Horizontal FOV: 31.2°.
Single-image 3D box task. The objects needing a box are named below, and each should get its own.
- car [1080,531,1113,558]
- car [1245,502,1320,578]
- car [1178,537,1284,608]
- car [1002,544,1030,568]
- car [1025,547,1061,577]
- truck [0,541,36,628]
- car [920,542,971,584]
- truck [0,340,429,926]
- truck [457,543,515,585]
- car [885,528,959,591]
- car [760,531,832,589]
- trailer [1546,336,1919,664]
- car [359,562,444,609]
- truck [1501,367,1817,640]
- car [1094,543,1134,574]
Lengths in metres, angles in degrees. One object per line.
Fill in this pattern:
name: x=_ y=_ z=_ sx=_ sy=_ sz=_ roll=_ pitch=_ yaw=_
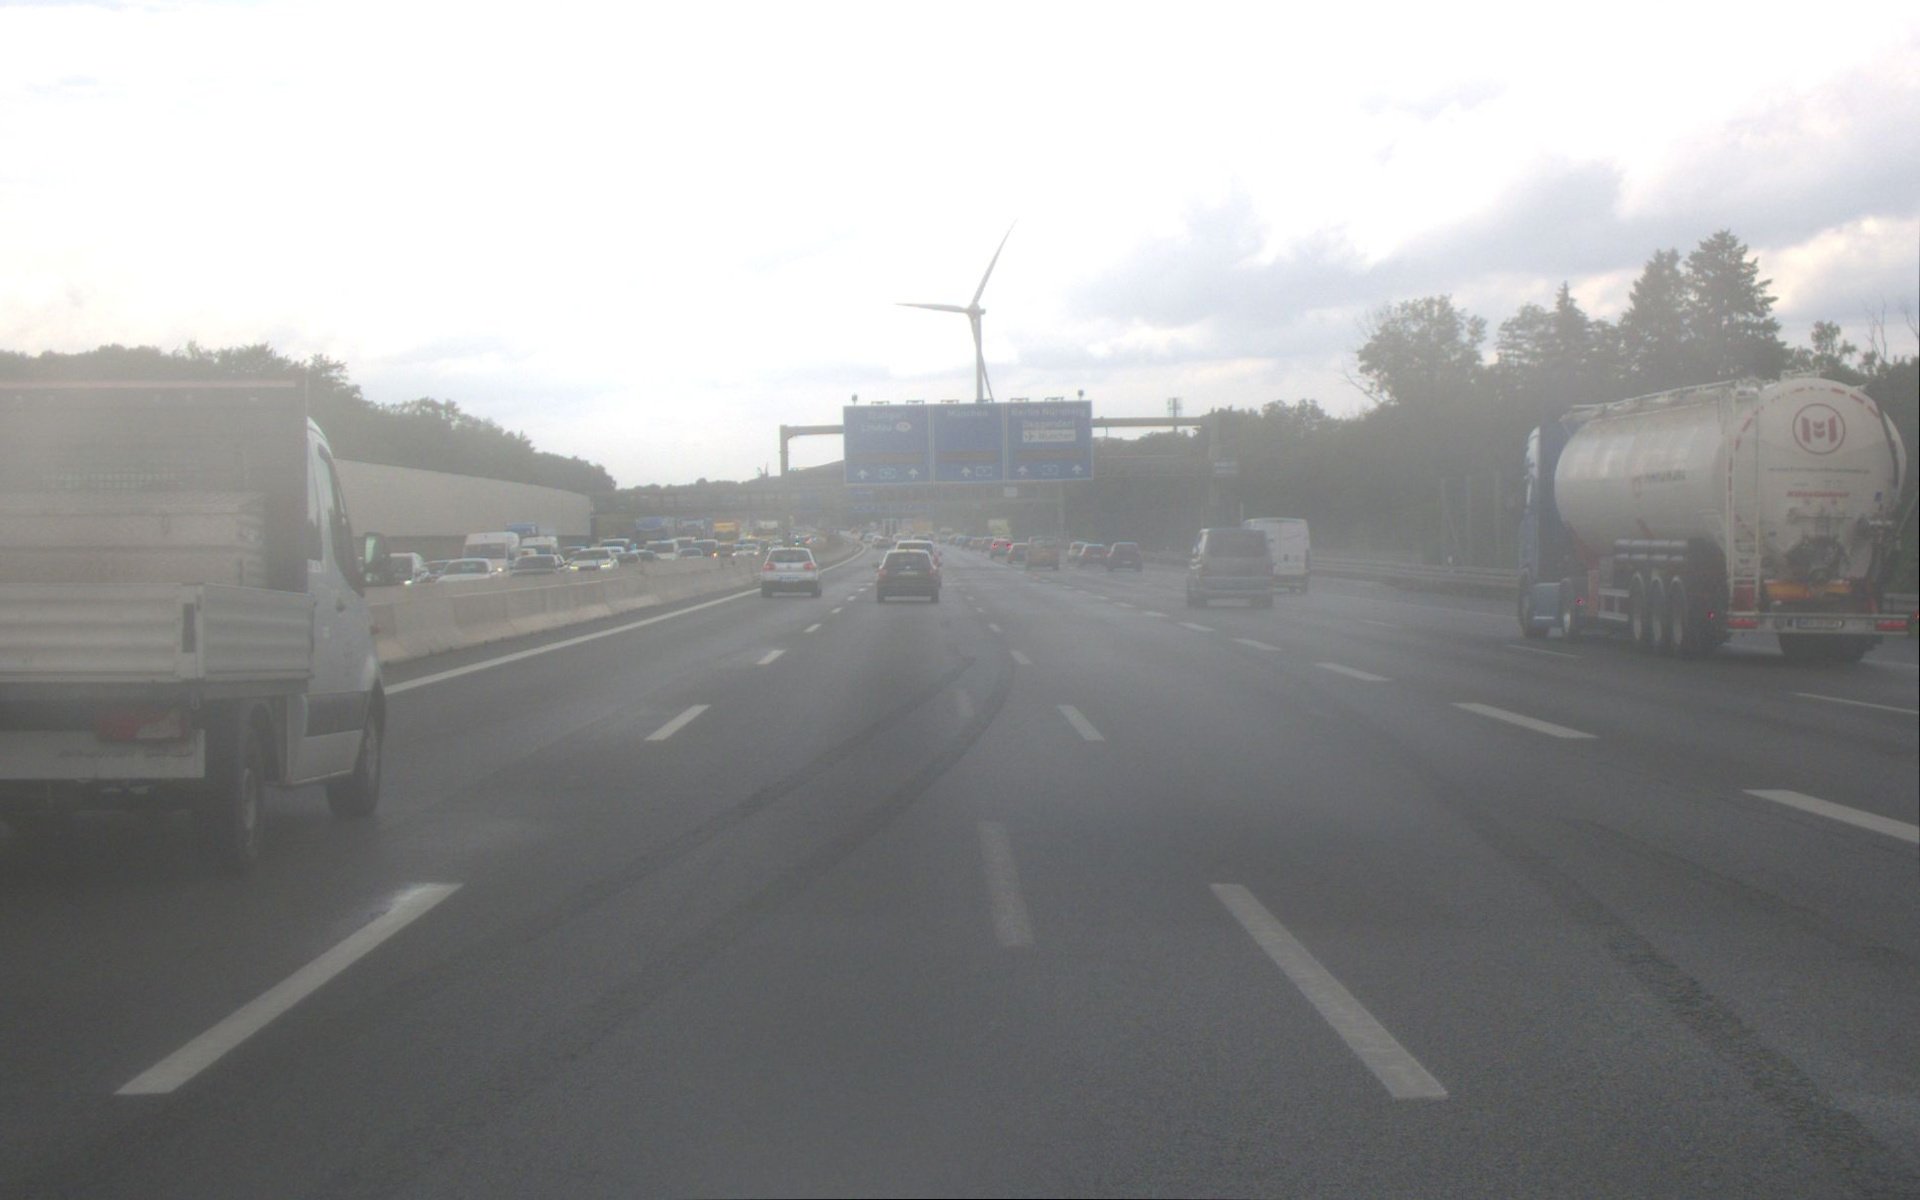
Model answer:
car: x=9.034 y=-3.688 z=227.960 sx=2.045 sy=1.693 sz=4.000 roll=0 pitch=1 yaw=0
car: x=10.660 y=-2.009 z=113.852 sx=2.045 sy=2.489 sz=4.000 roll=0 pitch=1 yaw=-1
car: x=6.752 y=-0.708 z=86.068 sx=2.097 sy=1.693 sz=4.001 roll=0 pitch=1 yaw=-4
car: x=4.001 y=-3.146 z=246.070 sx=1.868 sy=1.722 sz=4.000 roll=0 pitch=1 yaw=-1
car: x=4.822 y=-2.203 z=199.733 sx=2.045 sy=1.693 sz=4.000 roll=0 pitch=1 yaw=0
truck: x=-19.365 y=-0.308 z=66.407 sx=1.993 sy=1.664 sz=4.000 roll=0 pitch=1 yaw=-1
car: x=-0.551 y=-1.390 z=128.143 sx=1.857 sy=1.542 sz=4.000 roll=0 pitch=1 yaw=0
truck: x=-4.289 y=0.040 z=17.755 sx=2.352 sy=2.400 sz=7.359 roll=0 pitch=1 yaw=-3
truck: x=-19.589 y=-1.493 z=142.166 sx=1.993 sy=1.702 sz=4.314 roll=0 pitch=1 yaw=-2
car: x=-1.079 y=-1.153 z=96.221 sx=2.045 sy=1.693 sz=4.001 roll=0 pitch=1 yaw=-1
car: x=-4.939 y=-1.226 z=104.136 sx=2.045 sy=1.693 sz=4.000 roll=0 pitch=1 yaw=-1
trailer: x=11.216 y=-1.389 z=49.749 sx=3.332 sy=4.161 sz=11.839 roll=0 pitch=1 yaw=0
car: x=-15.072 y=-0.404 z=92.915 sx=1.689 sy=1.230 sz=4.000 roll=0 pitch=1 yaw=0
truck: x=11.128 y=-1.528 z=55.662 sx=3.333 sy=4.066 sz=8.272 roll=0 pitch=1 yaw=0
car: x=8.699 y=-2.336 z=194.168 sx=1.993 sy=1.744 sz=4.497 roll=0 pitch=1 yaw=-1
